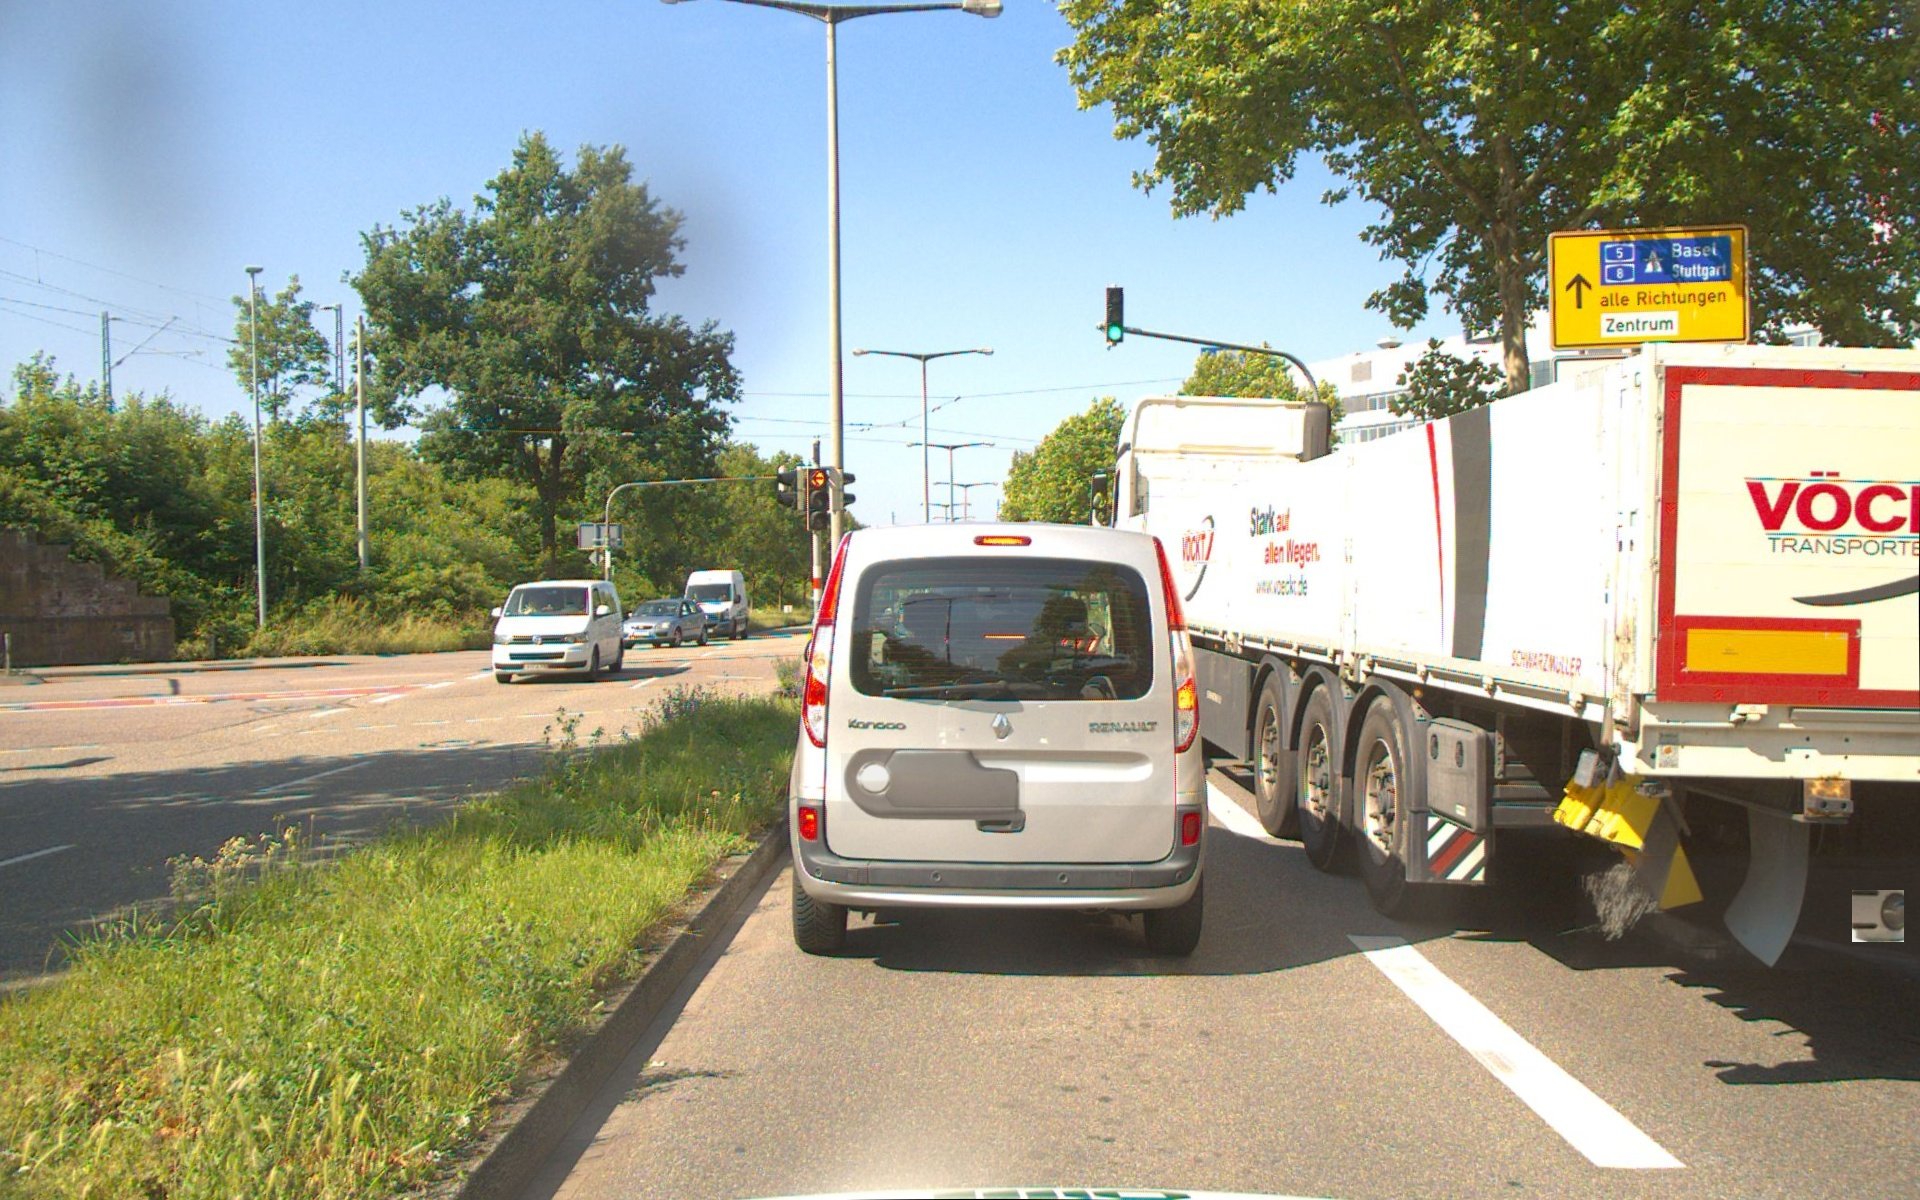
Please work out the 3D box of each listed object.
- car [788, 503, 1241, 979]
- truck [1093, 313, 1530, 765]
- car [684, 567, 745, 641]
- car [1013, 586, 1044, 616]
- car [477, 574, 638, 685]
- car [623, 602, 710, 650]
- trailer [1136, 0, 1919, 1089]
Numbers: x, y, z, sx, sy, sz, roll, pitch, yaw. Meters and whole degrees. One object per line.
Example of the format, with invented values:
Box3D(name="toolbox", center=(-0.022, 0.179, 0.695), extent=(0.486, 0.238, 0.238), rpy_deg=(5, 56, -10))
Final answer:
Box3D(name="car", center=(0.196, 0.539, 8.251), extent=(1.713, 1.803, 3.949), rpy_deg=(0, 0, -1))
Box3D(name="truck", center=(3.291, -0.509, 17.777), extent=(3.009, 3.823, 7.474), rpy_deg=(0, 0, -1))
Box3D(name="car", center=(-9.261, 0.144, 62.763), extent=(2.019, 2.660, 5.862), rpy_deg=(0, 0, -6))
Box3D(name="car", center=(4.778, 0.059, 116.572), extent=(1.953, 2.049, 3.999), rpy_deg=(0, 0, -1))
Box3D(name="car", center=(-7.843, 0.541, 32.734), extent=(1.953, 1.924, 4.987), rpy_deg=(-3, 0, -1))
Box3D(name="car", center=(-9.072, 0.778, 51.408), extent=(1.871, 1.433, 4.228), rpy_deg=(0, 0, 1))
Box3D(name="trailer", center=(3.247, -0.543, 10.691), extent=(2.954, 3.806, 12.239), rpy_deg=(0, 0, 0))
